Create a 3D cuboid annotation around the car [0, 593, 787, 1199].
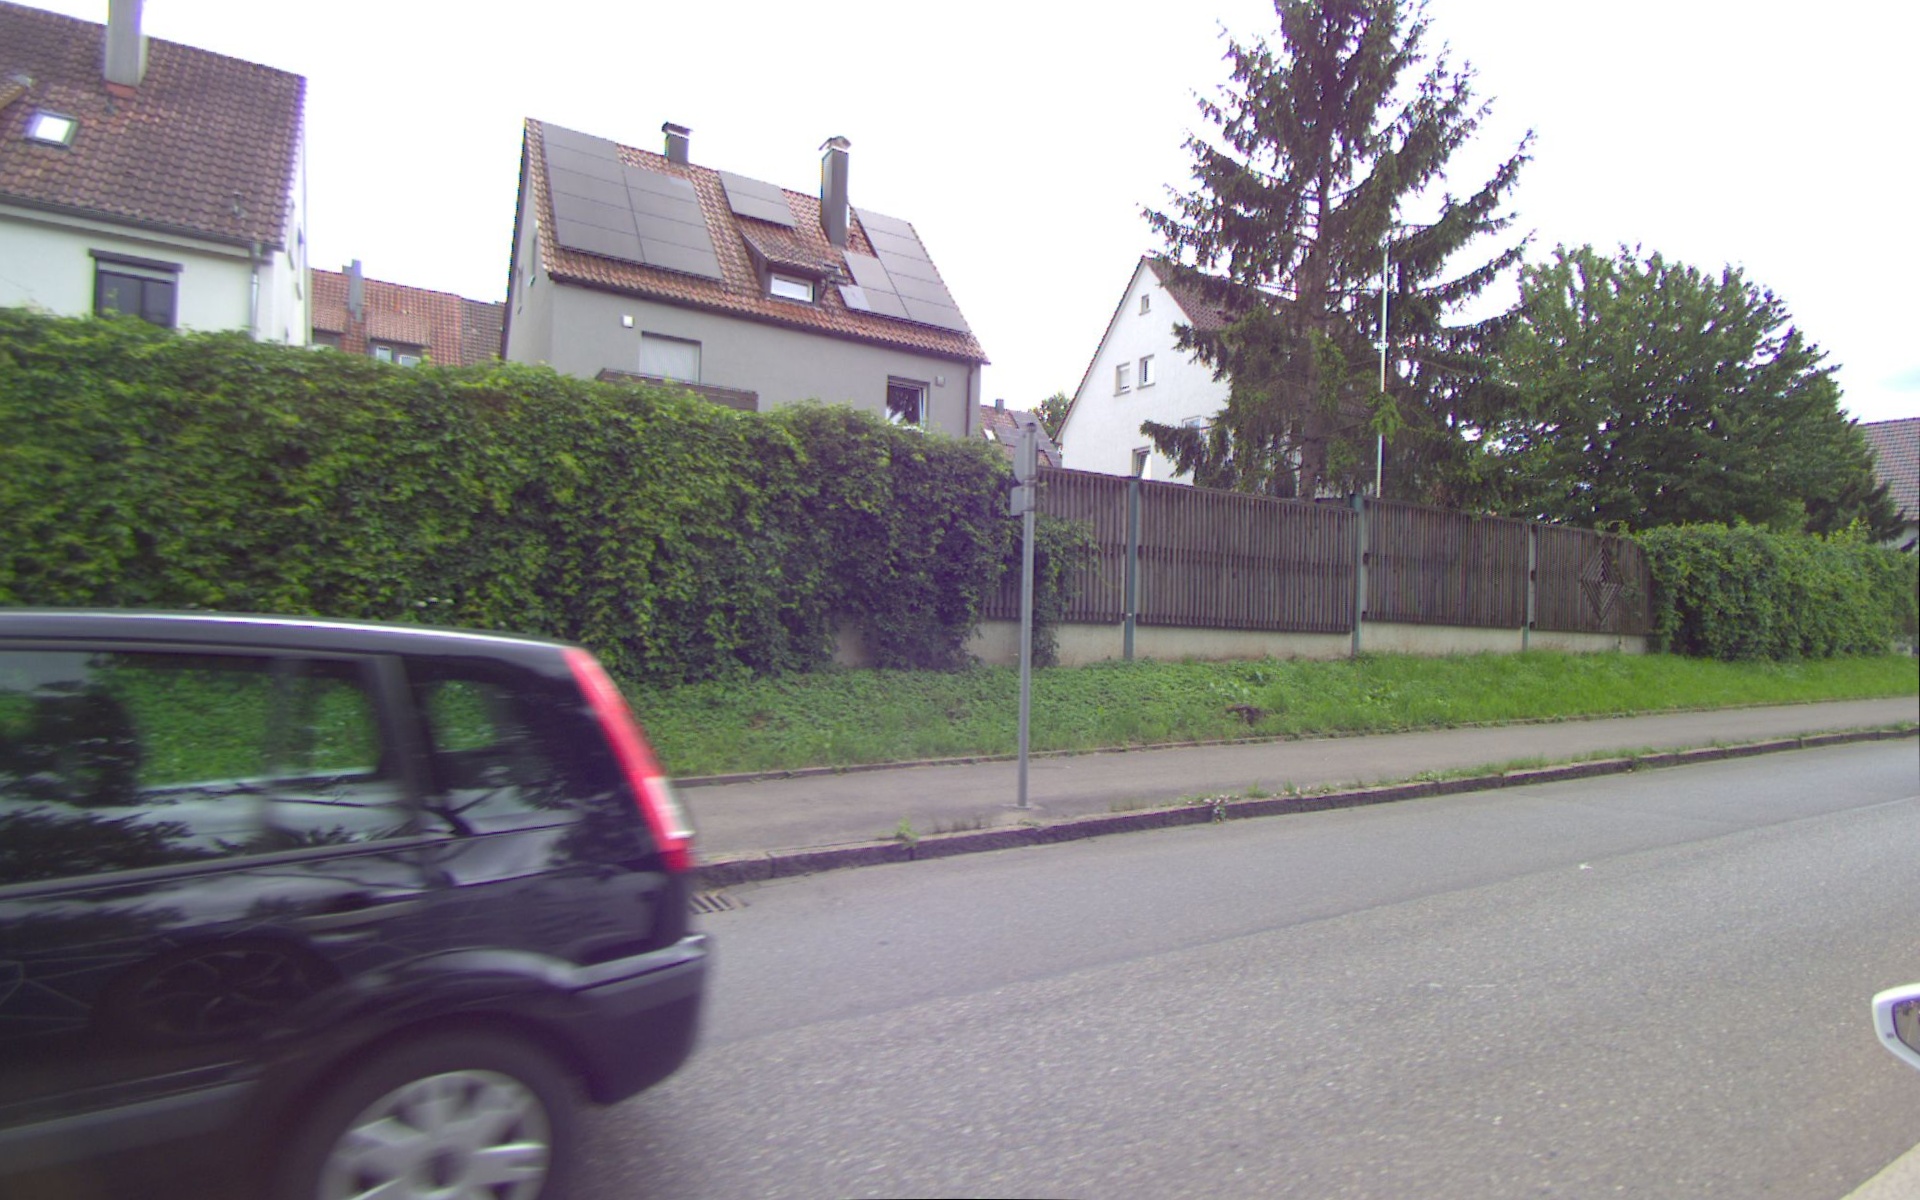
[{"bbox_3d":[-2.574,0.761,2.137,4.061,1.500,1.635,1,-3,-32],"label":"car"}]
